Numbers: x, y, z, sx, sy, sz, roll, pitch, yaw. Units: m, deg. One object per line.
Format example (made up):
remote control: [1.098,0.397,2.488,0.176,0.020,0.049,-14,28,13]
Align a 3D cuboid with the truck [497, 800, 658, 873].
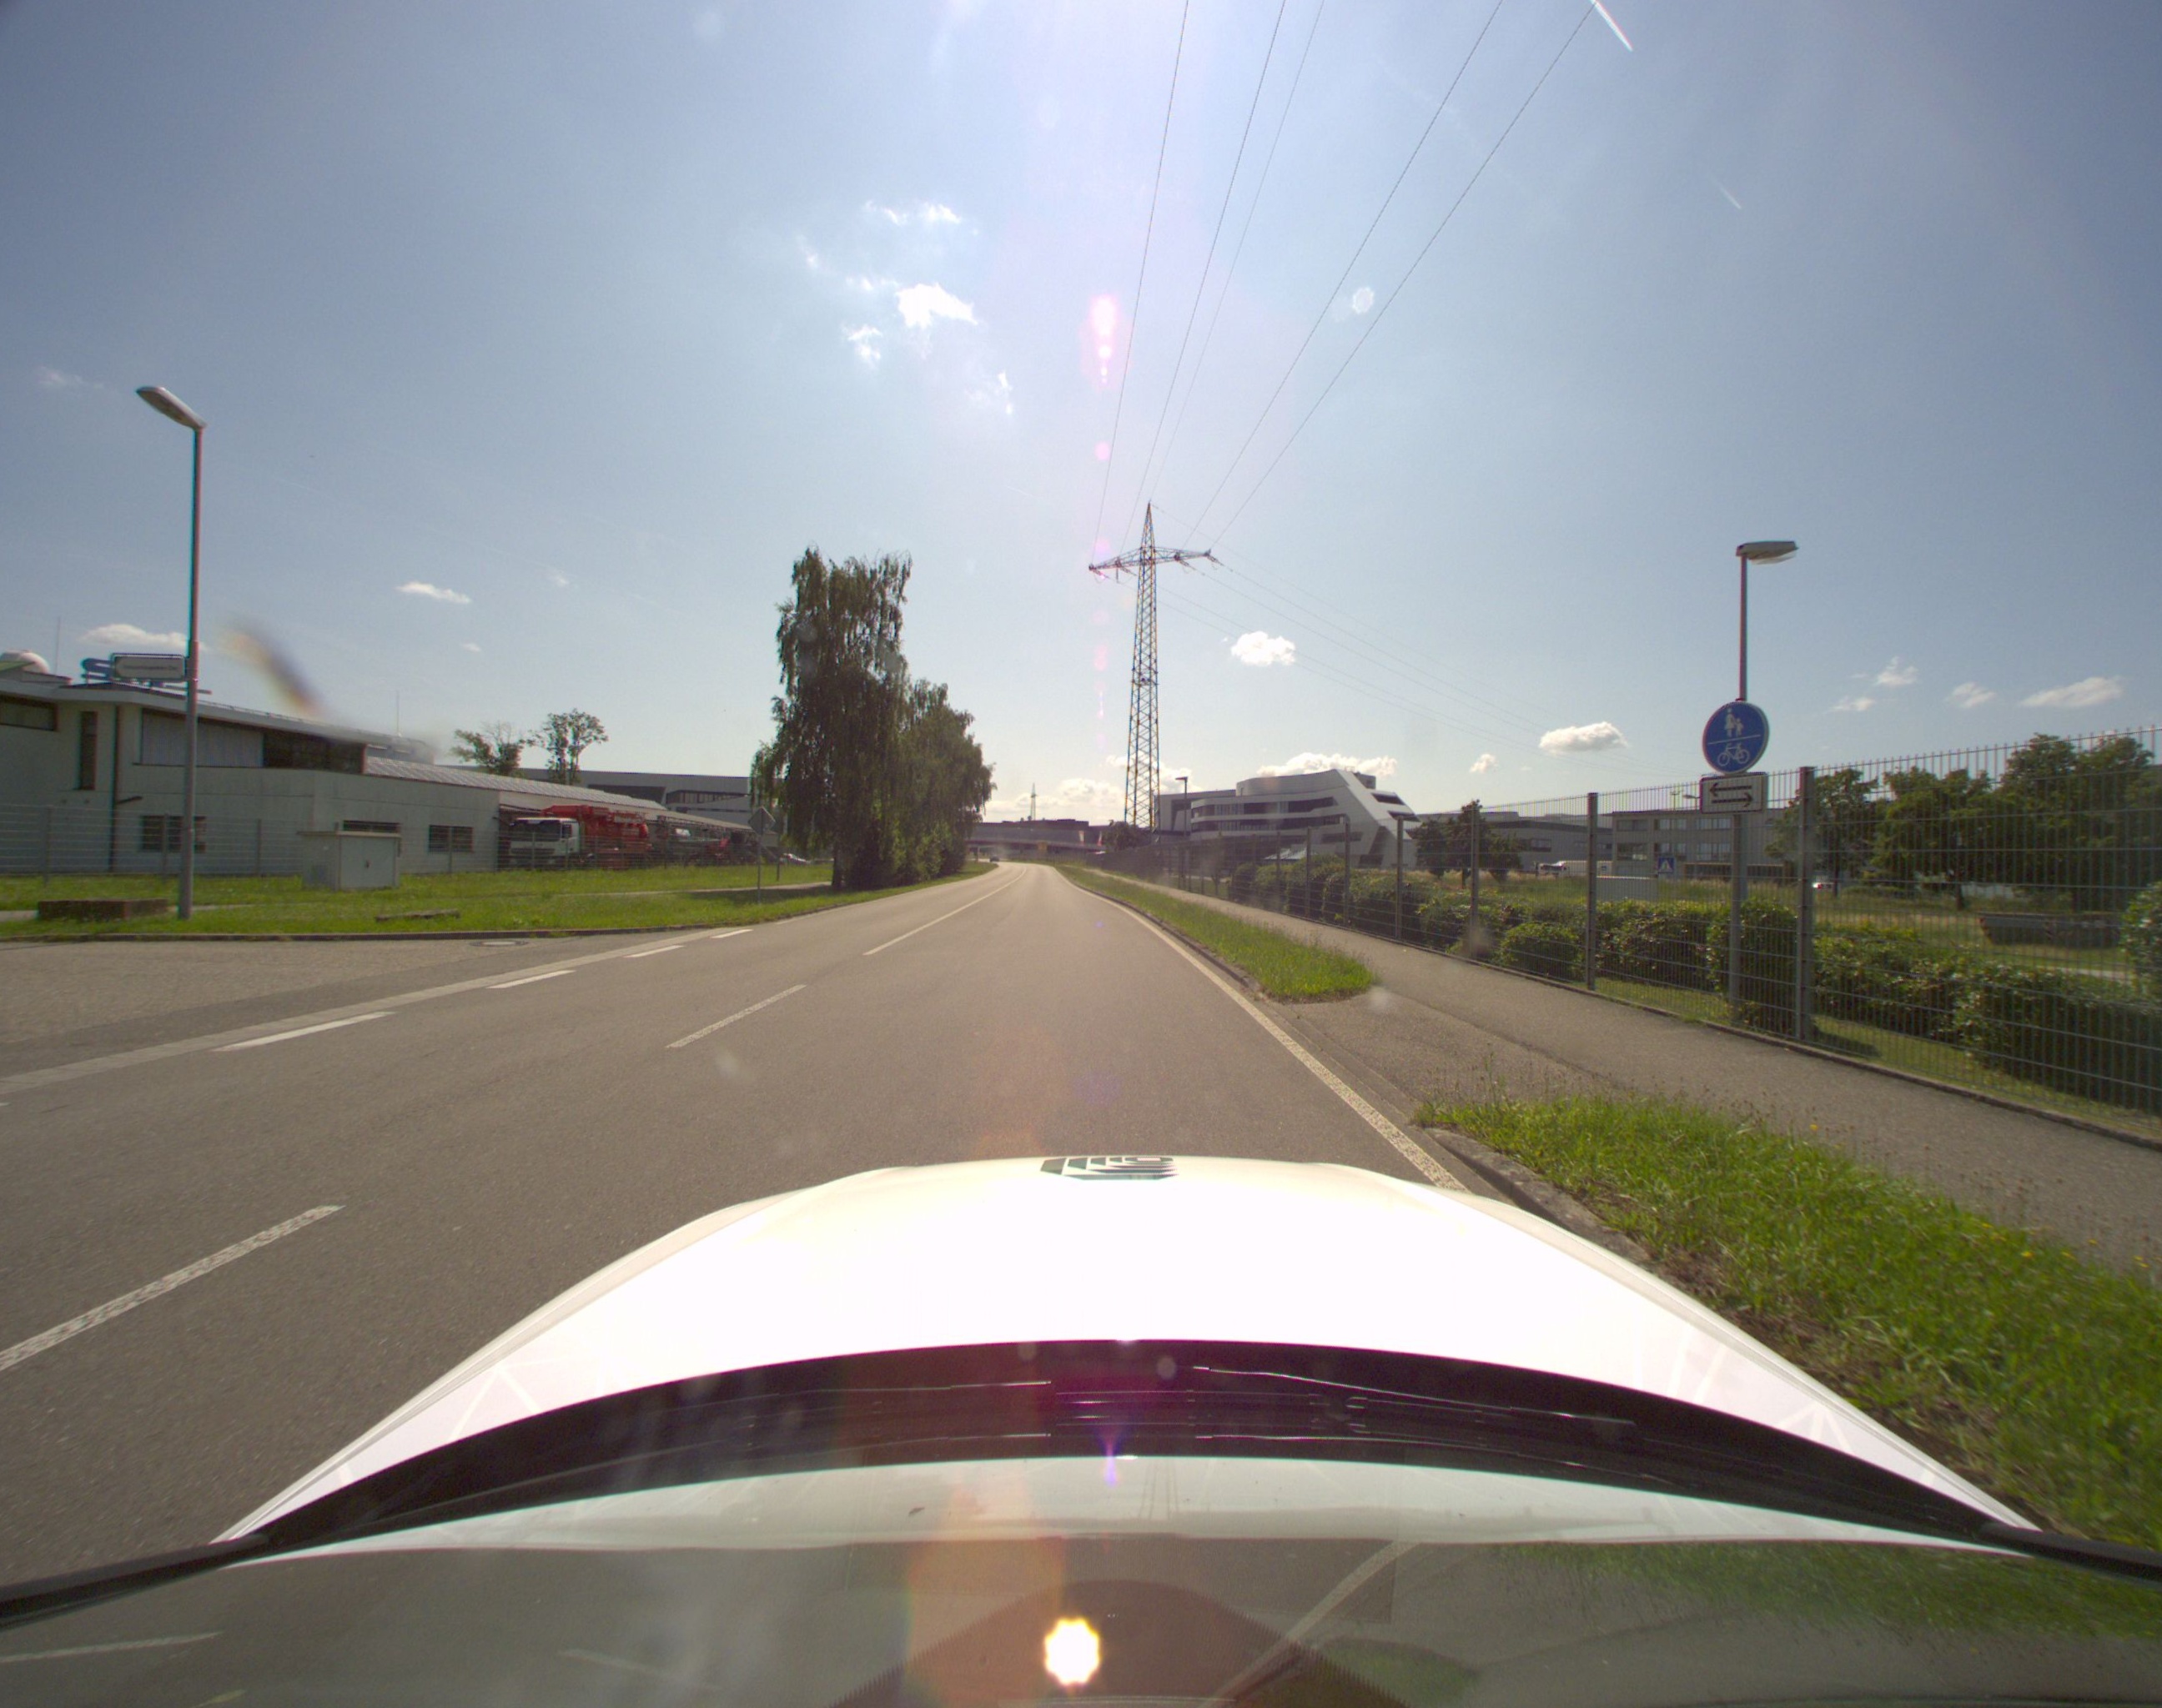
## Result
truck: [-27.661,-0.863,45.533,2.745,3.558,10.260,2,0,-2]

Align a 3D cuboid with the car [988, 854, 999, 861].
car: [-20.054,0.846,186.734,2.015,1.508,3.981,2,0,-14]

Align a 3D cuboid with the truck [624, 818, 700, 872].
truck: [-28.509,-0.601,55.649,2.428,3.452,5.438,2,0,-2]
